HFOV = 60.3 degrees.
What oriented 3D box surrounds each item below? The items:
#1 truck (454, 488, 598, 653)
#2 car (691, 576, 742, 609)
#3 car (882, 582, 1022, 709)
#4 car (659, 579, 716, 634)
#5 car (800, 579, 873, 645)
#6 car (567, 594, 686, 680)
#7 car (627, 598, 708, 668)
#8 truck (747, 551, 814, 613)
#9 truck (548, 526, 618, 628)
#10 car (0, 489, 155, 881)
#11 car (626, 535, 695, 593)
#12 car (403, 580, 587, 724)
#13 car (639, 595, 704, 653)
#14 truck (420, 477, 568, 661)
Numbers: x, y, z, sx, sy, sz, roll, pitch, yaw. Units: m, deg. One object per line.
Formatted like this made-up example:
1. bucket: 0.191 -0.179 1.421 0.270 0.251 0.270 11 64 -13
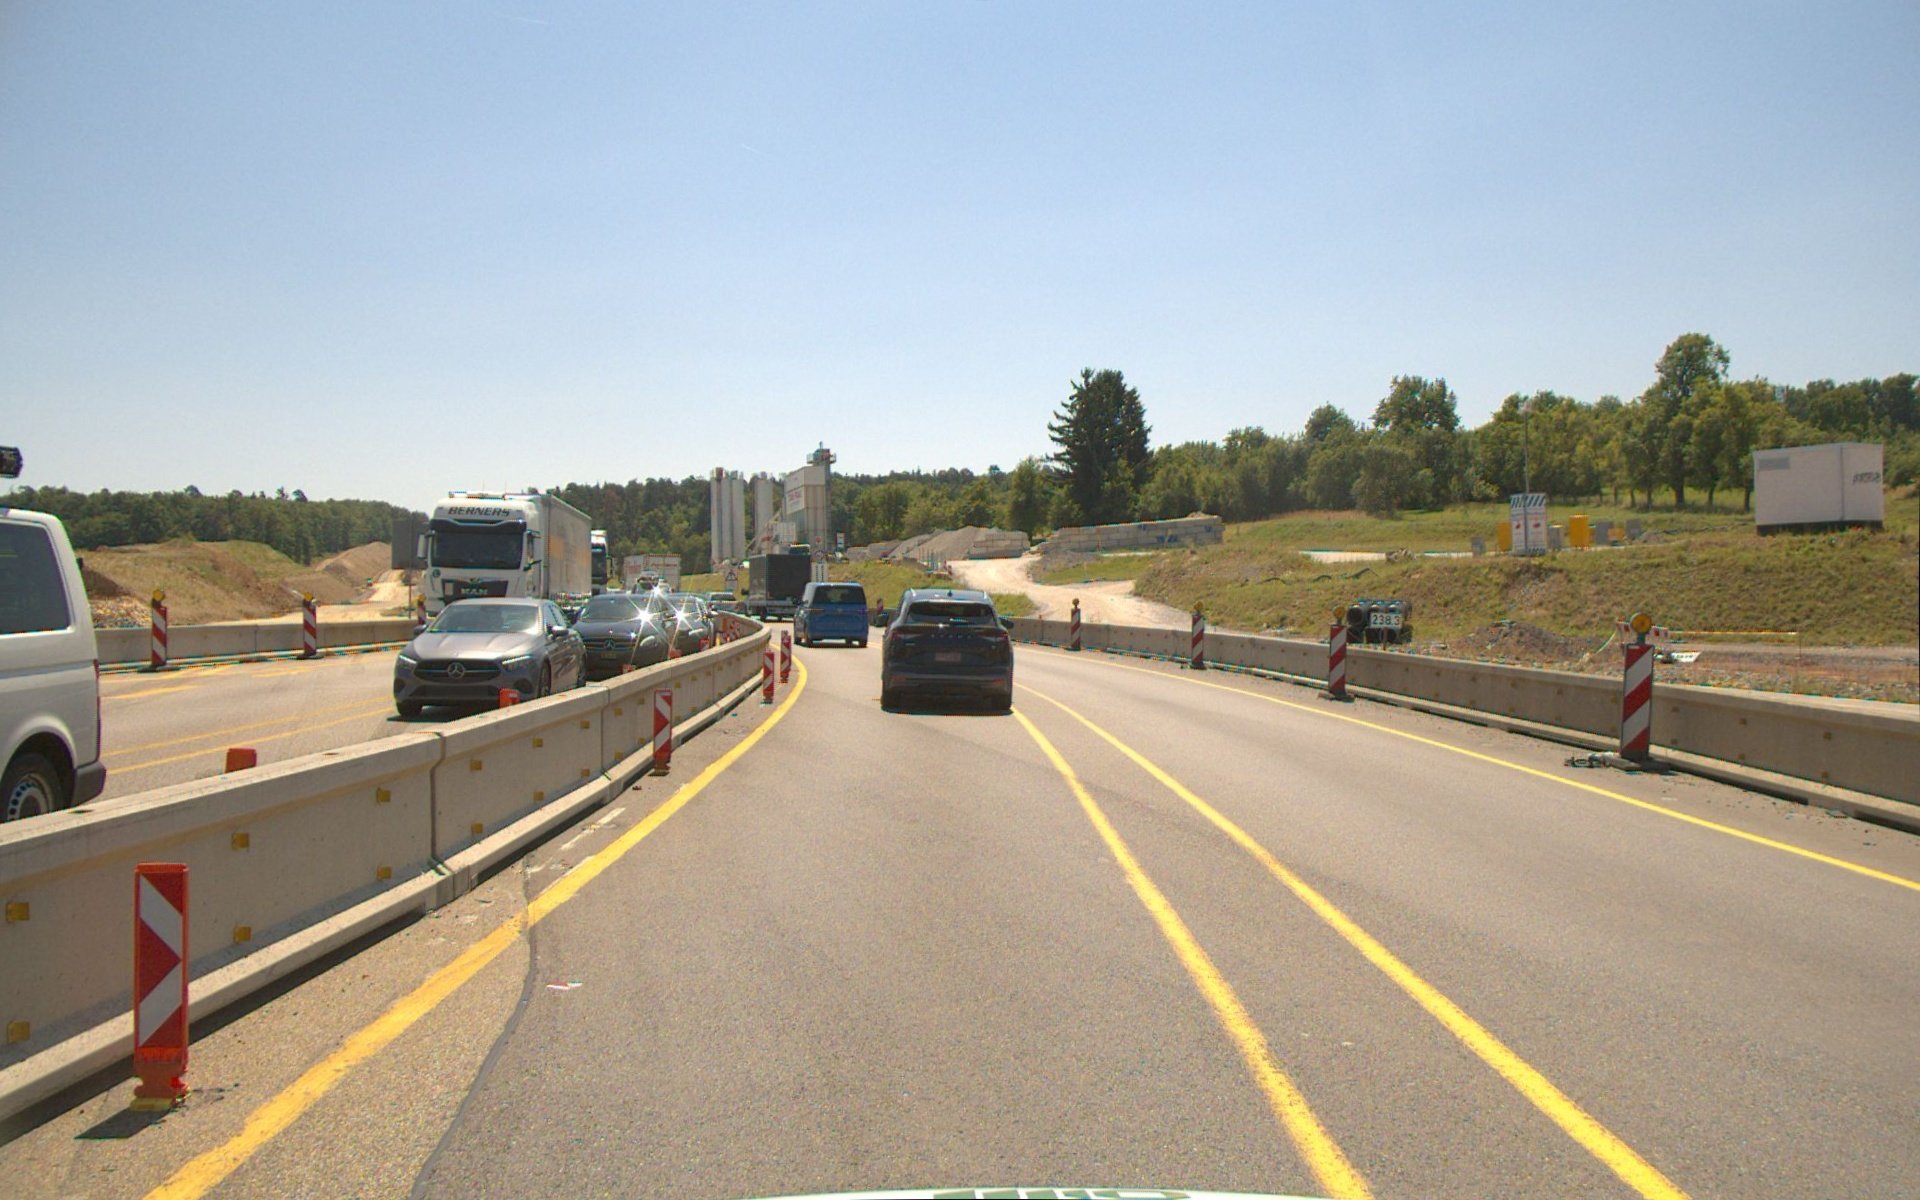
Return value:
1. truck: -12.739 -0.876 49.583 2.721 4.352 11.759 -1 1 -8
2. car: -12.110 -0.401 82.022 2.010 1.553 5.049 -2 1 -13
3. car: -0.162 0.580 23.692 1.805 1.609 3.999 1 1 -2
4. car: -8.490 0.170 51.261 1.647 1.571 4.108 1 1 -10
5. car: -3.795 0.325 50.261 1.956 1.876 3.993 0 1 -8
6. car: -6.017 0.619 30.201 1.692 1.432 4.125 0 1 -5
7. car: -6.673 0.716 38.016 1.624 1.478 4.241 0 1 -8
8. truck: -9.131 -0.895 83.821 2.628 2.997 5.600 -2 1 -14
9. truck: -15.765 -0.946 68.902 2.655 4.038 6.175 -1 1 -15
10. car: -5.554 0.408 7.050 1.835 1.905 5.057 1 1 -1
11. car: -23.208 -2.742 127.681 3.388 4.172 9.138 2 0 -22
12. car: -5.852 0.581 21.215 1.480 1.632 3.950 1 1 -4
13. car: -7.896 0.615 45.102 1.648 1.469 4.541 0 0 -11
14. truck: -11.795 -0.793 42.369 2.718 4.334 6.189 -1 1 -7
